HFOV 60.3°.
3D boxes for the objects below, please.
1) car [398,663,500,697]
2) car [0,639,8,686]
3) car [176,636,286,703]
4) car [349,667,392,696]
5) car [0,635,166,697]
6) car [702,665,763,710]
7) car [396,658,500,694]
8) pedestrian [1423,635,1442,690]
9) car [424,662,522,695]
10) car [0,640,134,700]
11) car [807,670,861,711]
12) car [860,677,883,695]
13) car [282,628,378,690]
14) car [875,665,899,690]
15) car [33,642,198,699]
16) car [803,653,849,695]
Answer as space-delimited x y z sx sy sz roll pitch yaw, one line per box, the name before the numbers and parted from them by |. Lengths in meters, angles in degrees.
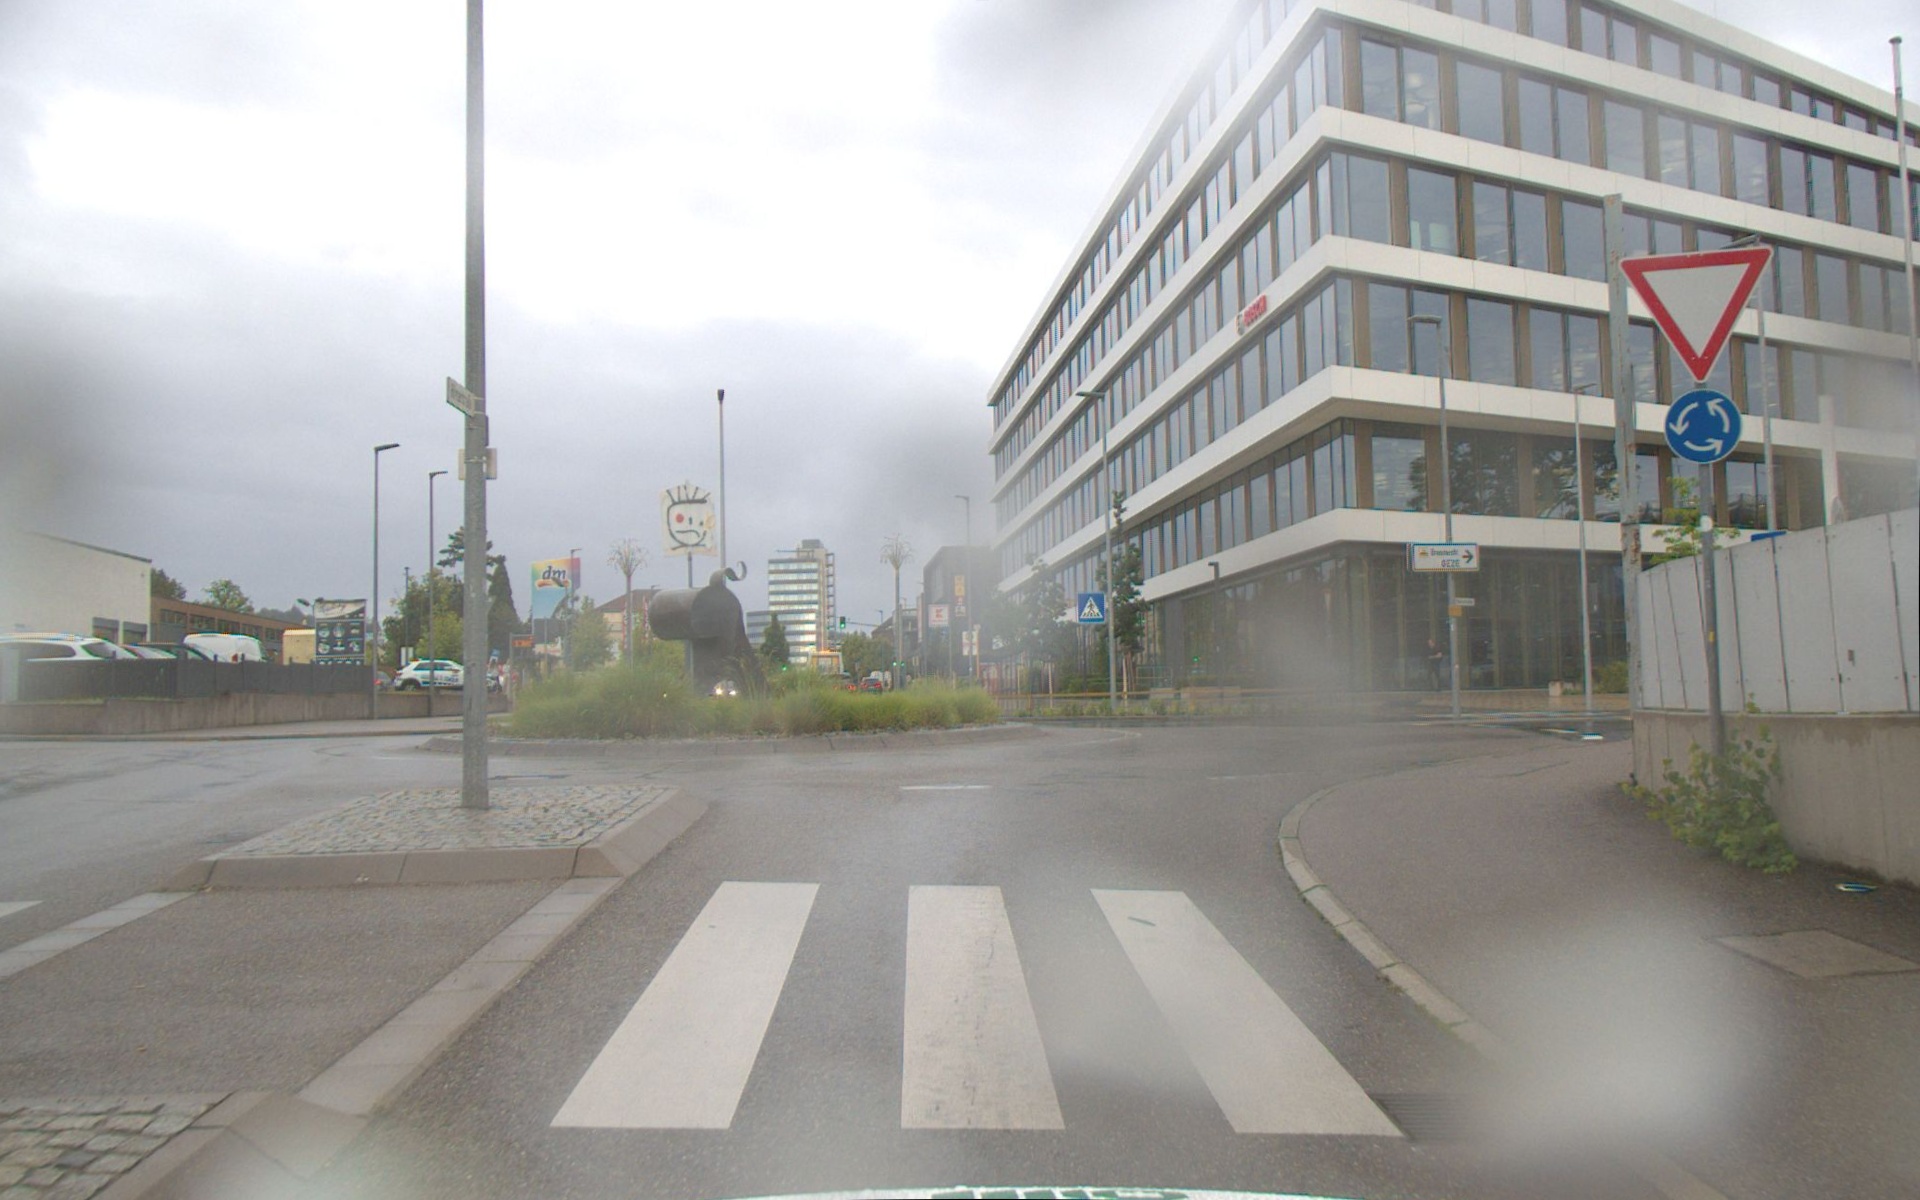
car | -22.222 3.485 72.097 3.944 1.445 1.765 0 -4 -7
car | -31.418 1.943 50.786 3.462 1.445 1.427 0 -1 -7
car | -24.352 2.274 55.439 1.955 2.049 4.992 0 -1 -7
car | -27.411 3.791 76.931 1.271 1.218 2.702 0 -1 -6
car | -21.412 1.610 40.241 3.462 1.445 1.427 0 -4 -7
car | -7.468 2.907 54.564 1.562 1.435 3.498 0 -4 -1
car | -21.694 3.235 70.228 3.947 1.445 1.764 0 -4 -10
pedestrian | 16.359 2.177 57.237 0.581 1.876 0.454 -2 -4 17
car | -21.840 3.525 74.277 3.944 1.445 1.765 0 -4 -7
car | -21.120 1.612 37.830 3.462 1.308 1.997 0 -4 -7
car | -4.592 3.342 60.681 1.758 1.435 3.420 0 -4 -1
car | -7.361 7.159 138.101 1.757 1.435 4.214 0 -4 -1
car | -22.475 2.055 59.218 1.955 2.049 4.994 0 -1 -6
car | -6.567 6.918 148.822 1.953 2.049 4.999 0 -1 -1
car | -21.761 1.830 42.705 3.462 1.445 1.427 0 -4 -7
car | -6.429 3.581 79.778 1.953 1.937 3.998 0 -4 -1
